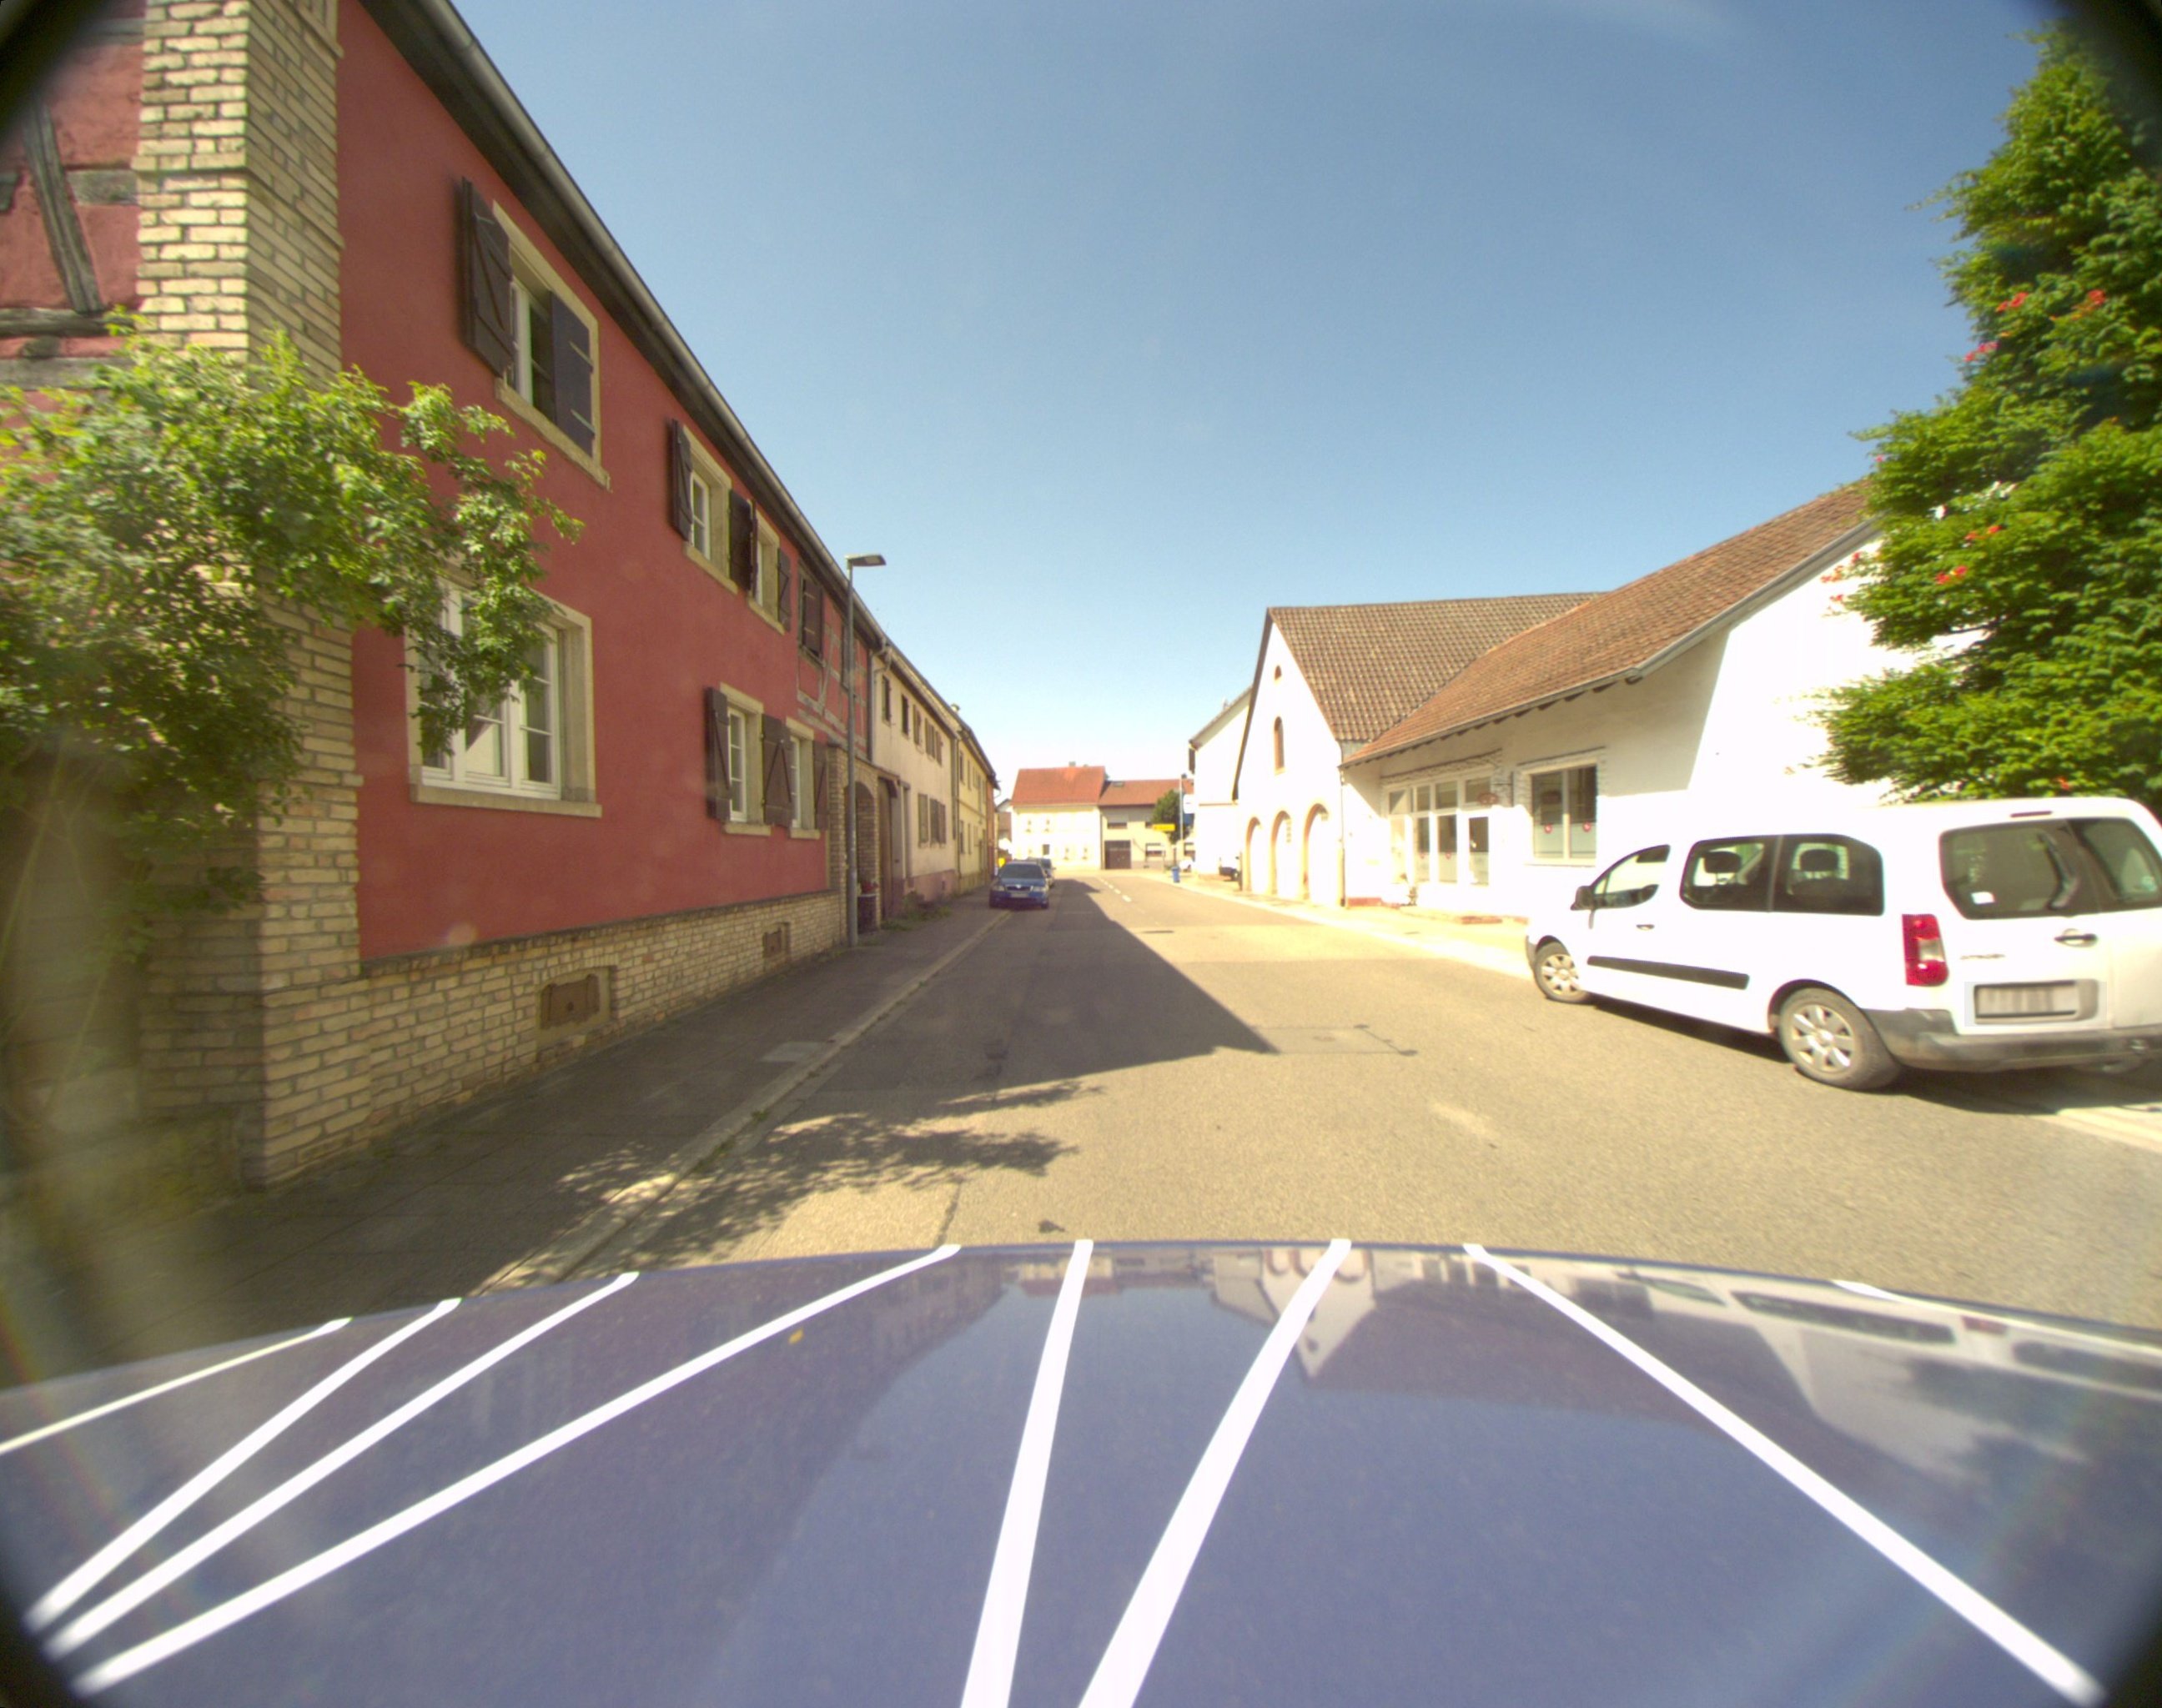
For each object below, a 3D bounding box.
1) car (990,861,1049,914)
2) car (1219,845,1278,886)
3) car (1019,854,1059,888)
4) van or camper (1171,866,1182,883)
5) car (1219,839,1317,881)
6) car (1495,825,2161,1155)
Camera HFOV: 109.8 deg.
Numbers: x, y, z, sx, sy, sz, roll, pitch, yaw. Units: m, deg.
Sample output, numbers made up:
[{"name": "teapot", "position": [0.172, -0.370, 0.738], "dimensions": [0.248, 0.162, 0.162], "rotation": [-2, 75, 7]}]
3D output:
[{"name": "car", "position": [-1.868, 0.987, 24.051], "dimensions": [1.703, 1.461, 4.409], "rotation": [0, 0, -3]}, {"name": "car", "position": [8.546, 0.568, 39.269], "dimensions": [1.998, 1.953, 4.669], "rotation": [-1, 0, 0]}, {"name": "car", "position": [-2.254, 0.882, 41.792], "dimensions": [1.903, 1.718, 4.248], "rotation": [-2, 0, -1]}, {"name": "van or camper", "position": [5.572, 1.198, 44.320], "dimensions": [0.590, 0.946, 0.600], "rotation": [-1, 0, 5]}, {"name": "car", "position": [10.545, 0.321, 43.212], "dimensions": [5.185, 2.184, 2.124], "rotation": [-2, 0, 9]}, {"name": "car", "position": [5.521, 0.698, 6.184], "dimensions": [1.860, 1.637, 4.429], "rotation": [-4, 0, 1]}]
